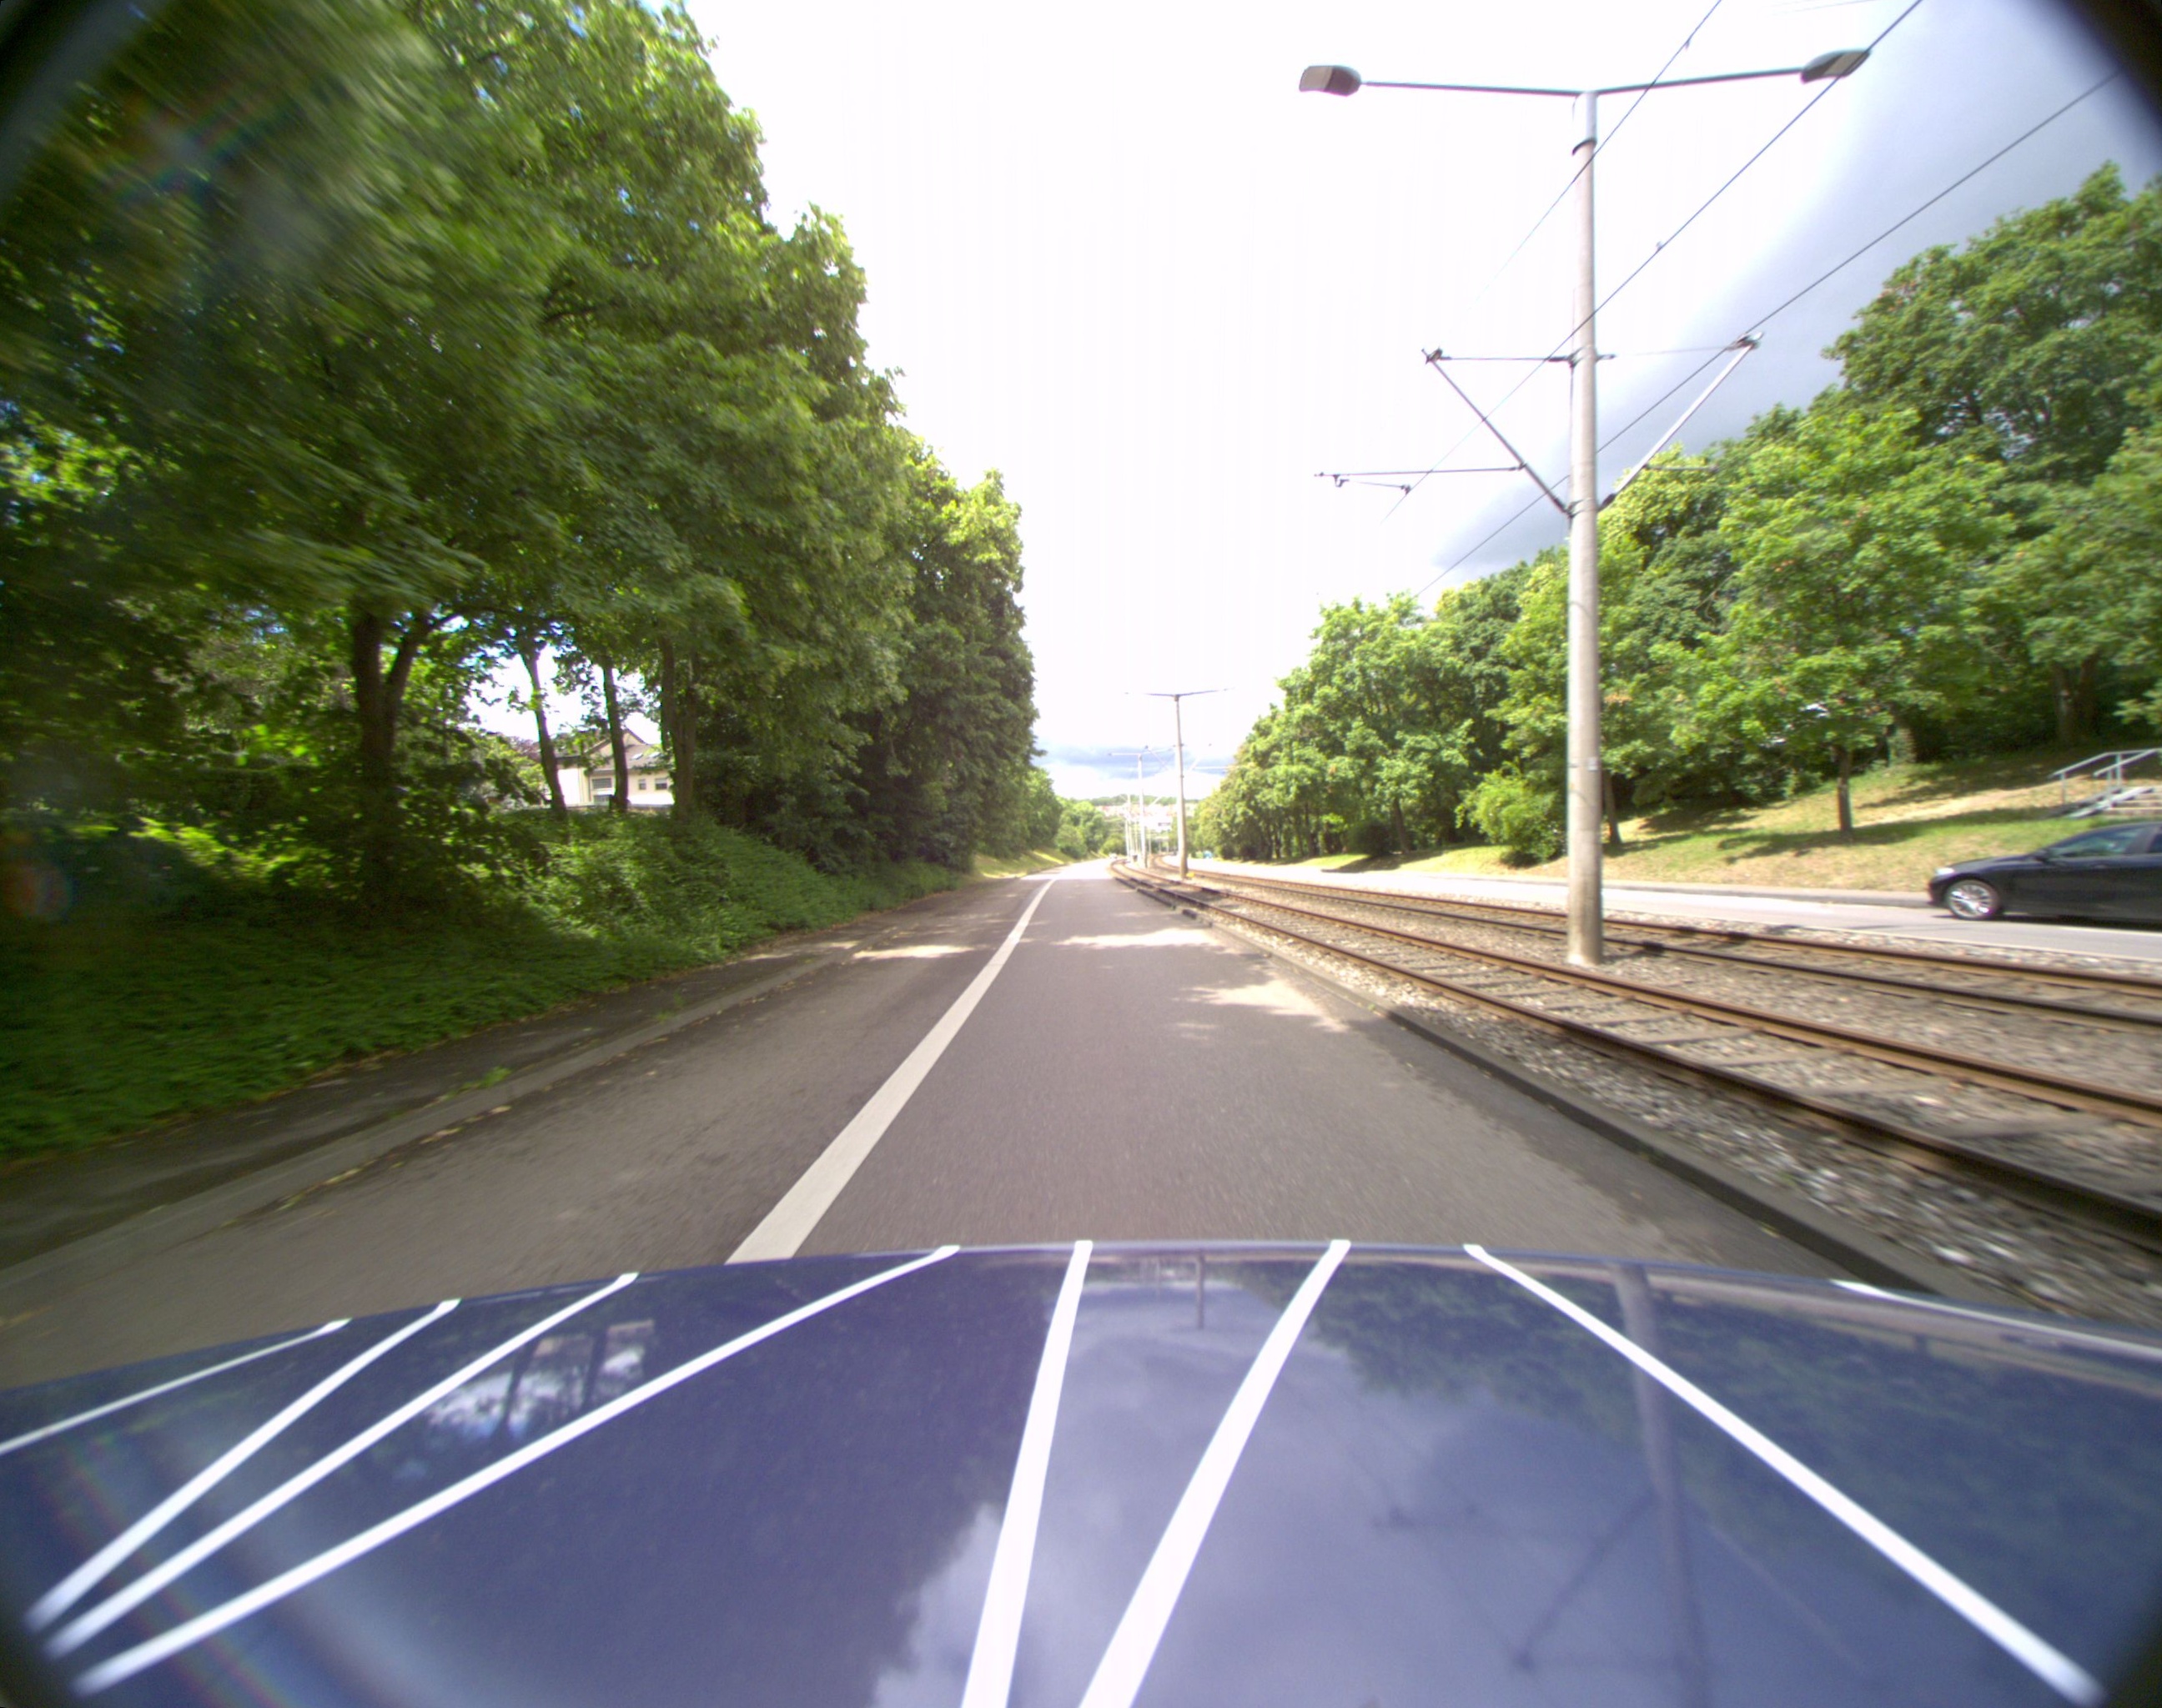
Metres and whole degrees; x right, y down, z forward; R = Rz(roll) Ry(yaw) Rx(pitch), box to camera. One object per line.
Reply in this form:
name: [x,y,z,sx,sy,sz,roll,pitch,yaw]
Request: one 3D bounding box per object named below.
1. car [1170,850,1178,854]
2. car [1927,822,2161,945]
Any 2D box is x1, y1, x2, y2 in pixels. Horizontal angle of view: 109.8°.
car: [27.006,-0.594,220.692,1.840,1.383,4.863,0,0,4]
car: [14.159,0.341,9.873,1.779,1.490,3.996,-2,0,-2]
